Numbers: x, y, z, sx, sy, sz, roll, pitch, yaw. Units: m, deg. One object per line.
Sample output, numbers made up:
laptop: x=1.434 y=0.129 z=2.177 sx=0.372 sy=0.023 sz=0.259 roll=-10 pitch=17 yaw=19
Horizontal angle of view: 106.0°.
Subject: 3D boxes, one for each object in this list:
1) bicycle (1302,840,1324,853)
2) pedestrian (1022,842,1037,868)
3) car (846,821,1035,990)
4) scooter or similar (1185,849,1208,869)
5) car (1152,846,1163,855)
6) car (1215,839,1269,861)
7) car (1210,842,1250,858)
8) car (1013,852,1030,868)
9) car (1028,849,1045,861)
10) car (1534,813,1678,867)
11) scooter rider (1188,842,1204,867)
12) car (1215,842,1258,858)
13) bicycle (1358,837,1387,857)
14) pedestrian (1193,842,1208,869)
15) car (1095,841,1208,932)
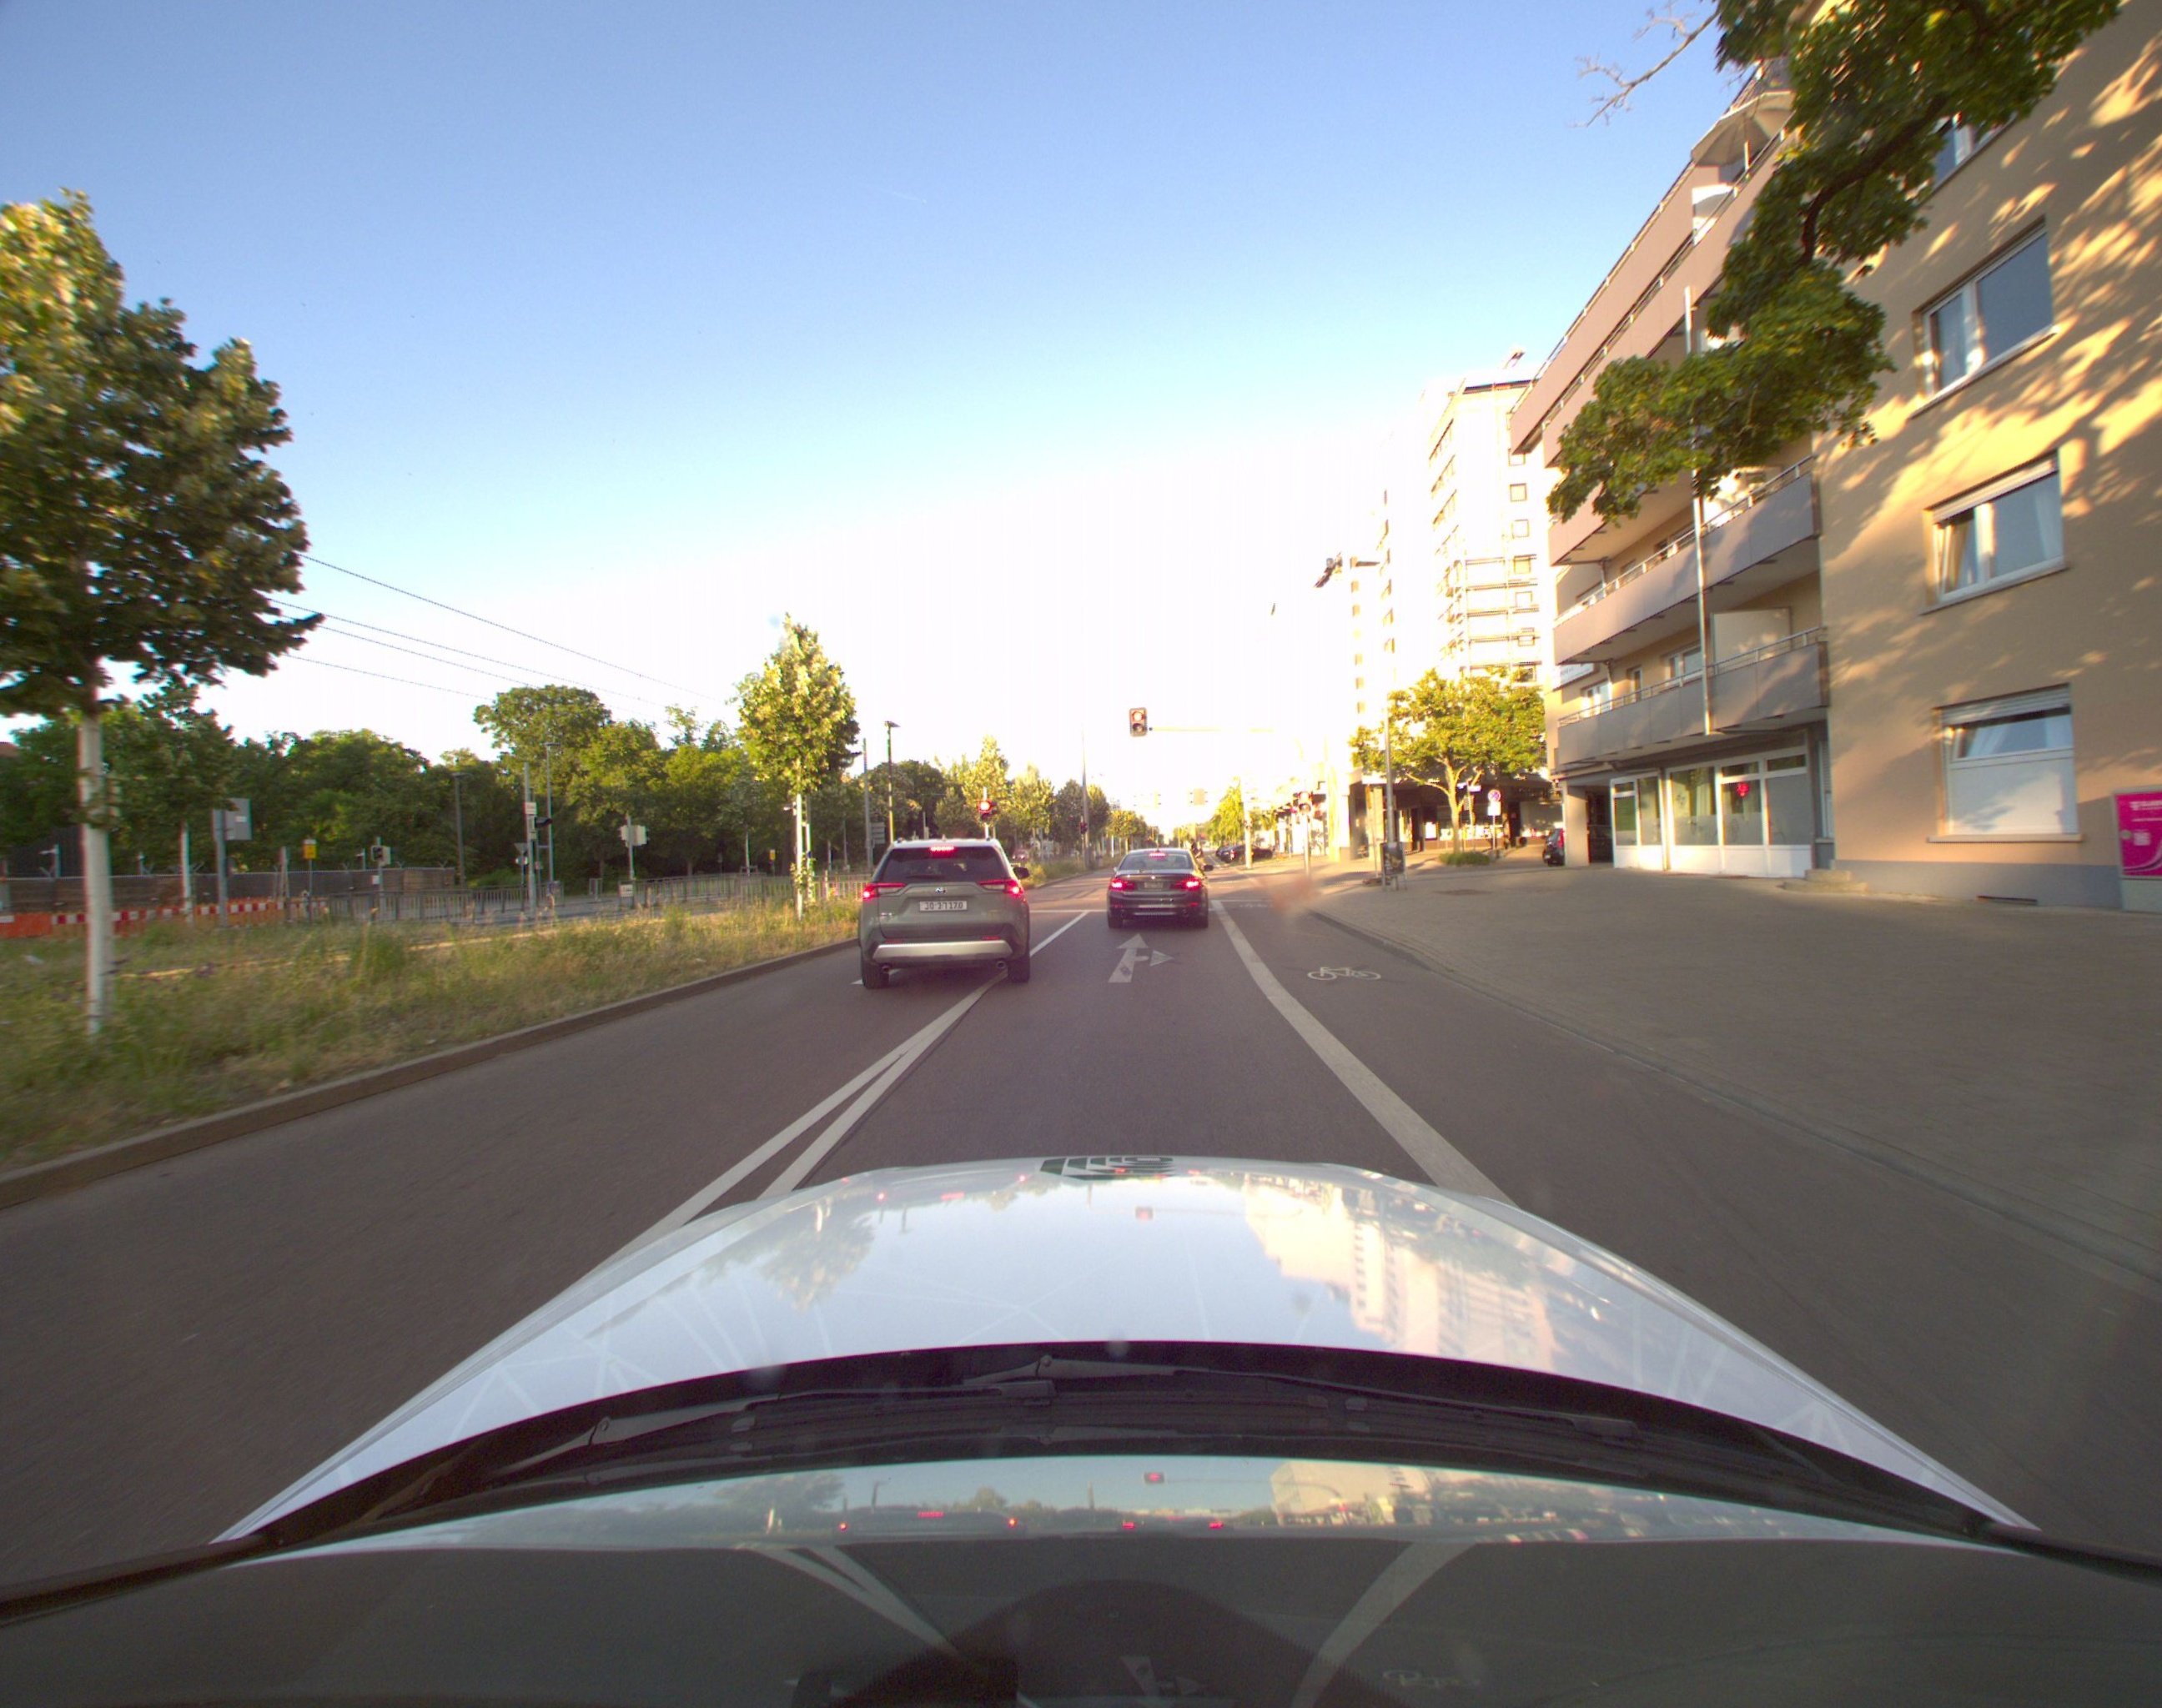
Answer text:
bicycle: x=22.006 y=-0.723 z=77.206 sx=2.003 sy=1.149 sz=0.693 roll=0 pitch=-1 yaw=12
pedestrian: x=-3.532 y=0.061 z=56.128 sx=0.831 sy=1.712 sz=0.648 roll=-3 pitch=0 yaw=5
car: x=-1.614 y=0.461 z=10.371 sx=1.852 sy=1.658 sz=4.260 roll=-1 pitch=2 yaw=-6
scooter or similar: x=7.307 y=0.311 z=51.688 sx=1.325 sy=1.153 sz=0.513 roll=-3 pitch=0 yaw=-1
car: x=14.701 y=-0.692 z=156.362 sx=1.969 sy=1.433 sz=4.852 roll=-1 pitch=2 yaw=6
car: x=13.008 y=-0.355 z=65.763 sx=4.288 sy=1.658 sz=1.840 roll=-2 pitch=2 yaw=-36
car: x=17.203 y=-0.487 z=93.946 sx=4.280 sy=1.658 sz=1.843 roll=-2 pitch=2 yaw=-29
car: x=-8.400 y=0.839 z=115.699 sx=1.987 sy=2.167 sz=4.751 roll=-1 pitch=2 yaw=0
car: x=-6.977 y=0.181 z=128.535 sx=1.984 sy=1.744 sz=4.758 roll=-1 pitch=2 yaw=5
car: x=19.143 y=-0.463 z=29.875 sx=4.015 sy=1.585 sz=1.710 roll=-4 pitch=-3 yaw=10
scooter rider: x=7.289 y=0.012 z=51.719 sx=0.818 sy=1.514 sz=0.653 roll=-3 pitch=0 yaw=-1
car: x=16.744 y=-0.454 z=87.599 sx=4.281 sy=1.658 sz=1.843 roll=-2 pitch=2 yaw=-30
bicycle: x=17.825 y=-0.414 z=49.805 sx=0.689 sy=1.149 sz=2.014 roll=1 pitch=0 yaw=-12
pedestrian: x=7.231 y=0.088 z=49.189 sx=0.830 sy=1.586 sz=0.814 roll=-3 pitch=0 yaw=9
car: x=1.529 y=0.540 z=16.313 sx=1.921 sy=1.481 sz=4.533 roll=-1 pitch=2 yaw=8
